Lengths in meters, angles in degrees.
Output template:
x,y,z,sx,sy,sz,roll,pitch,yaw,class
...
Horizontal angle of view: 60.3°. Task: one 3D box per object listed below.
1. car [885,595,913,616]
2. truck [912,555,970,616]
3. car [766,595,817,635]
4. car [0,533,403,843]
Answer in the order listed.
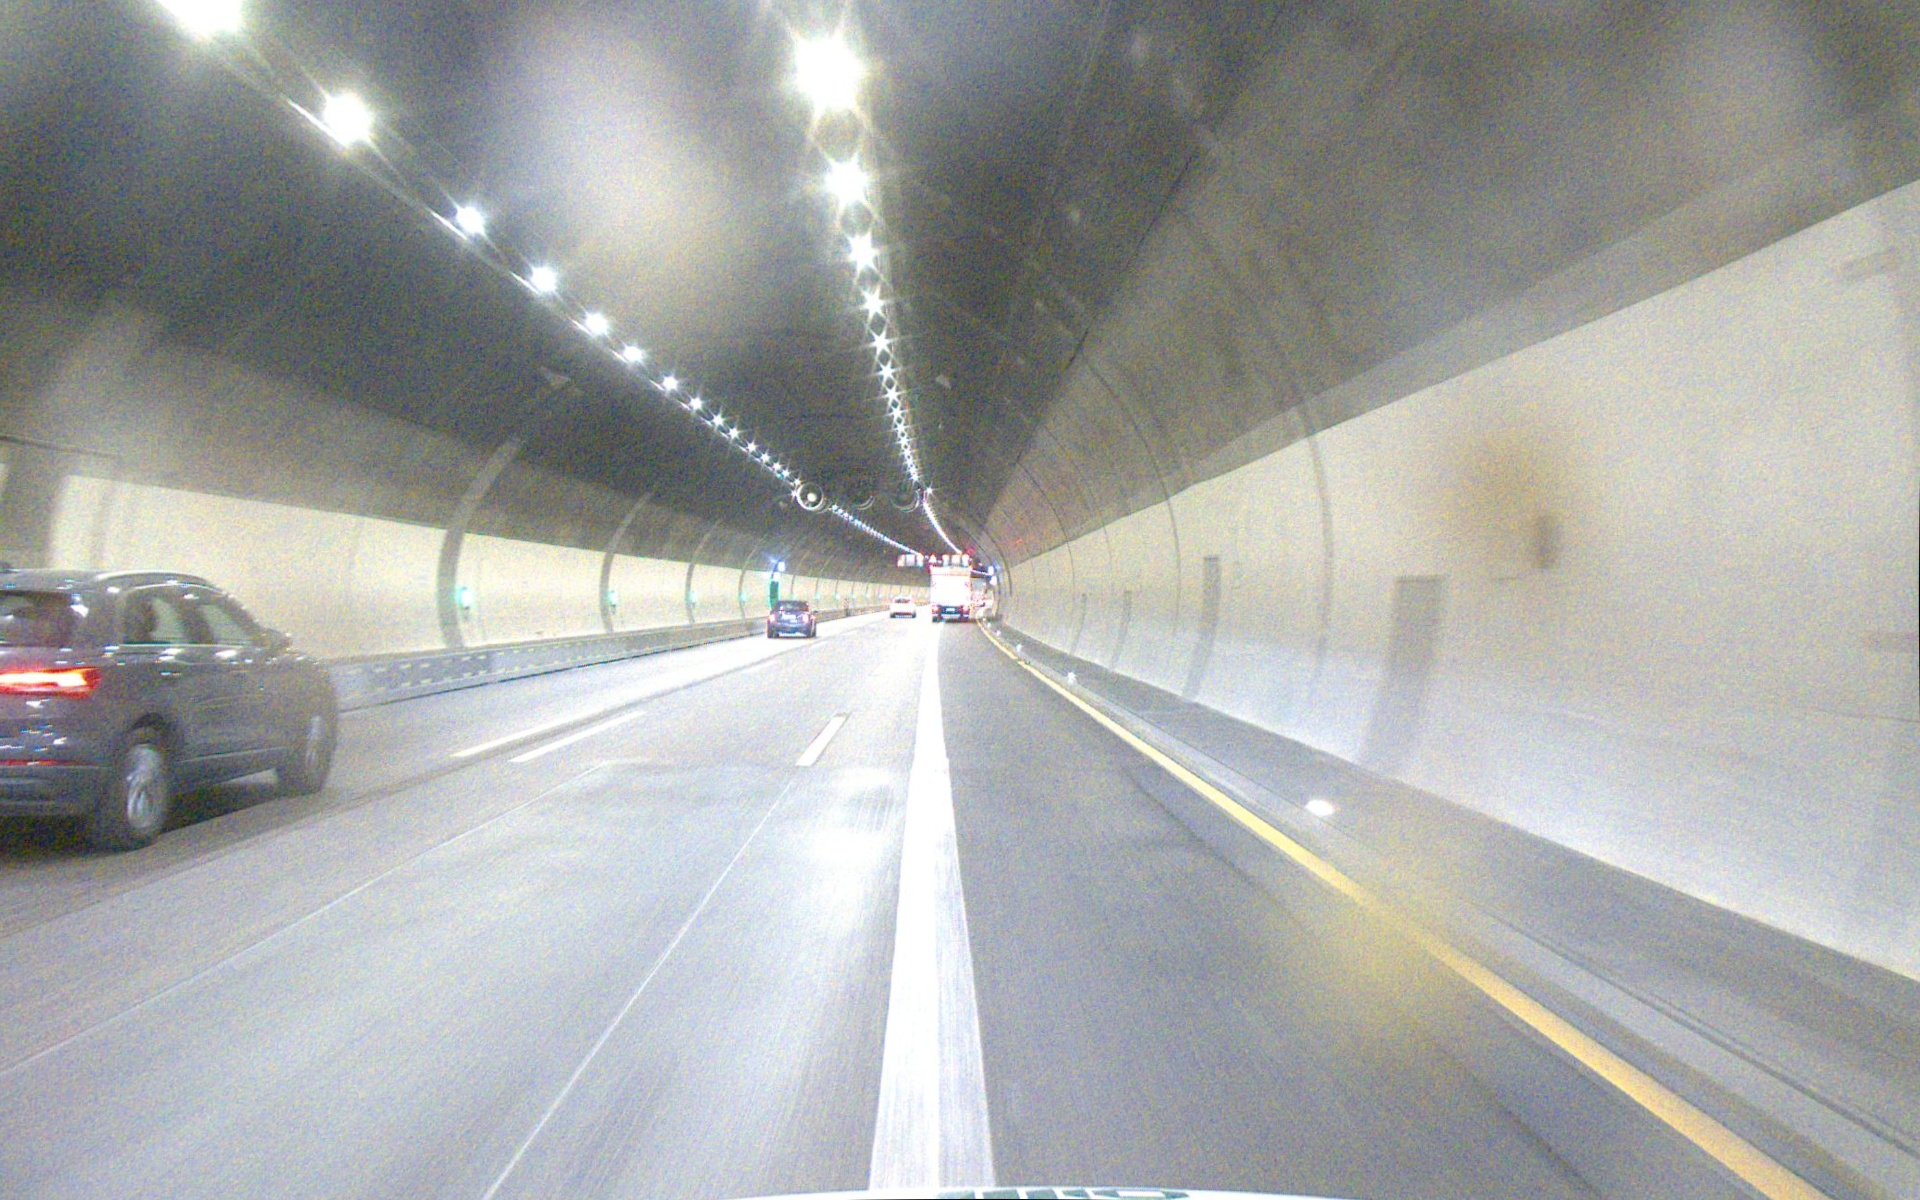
x,y,z,sx,sy,sz,roll,pitch,yaw,class
-4.392,0.402,120.400,1.953,1.437,4.741,1,0,-1,car
-1.250,-0.911,107.884,3.519,3.714,10.720,1,0,-1,truck
-6.403,0.552,63.006,1.655,1.442,3.921,1,0,-2,car
-5.399,0.439,10.779,1.953,1.567,4.741,1,0,-1,car
